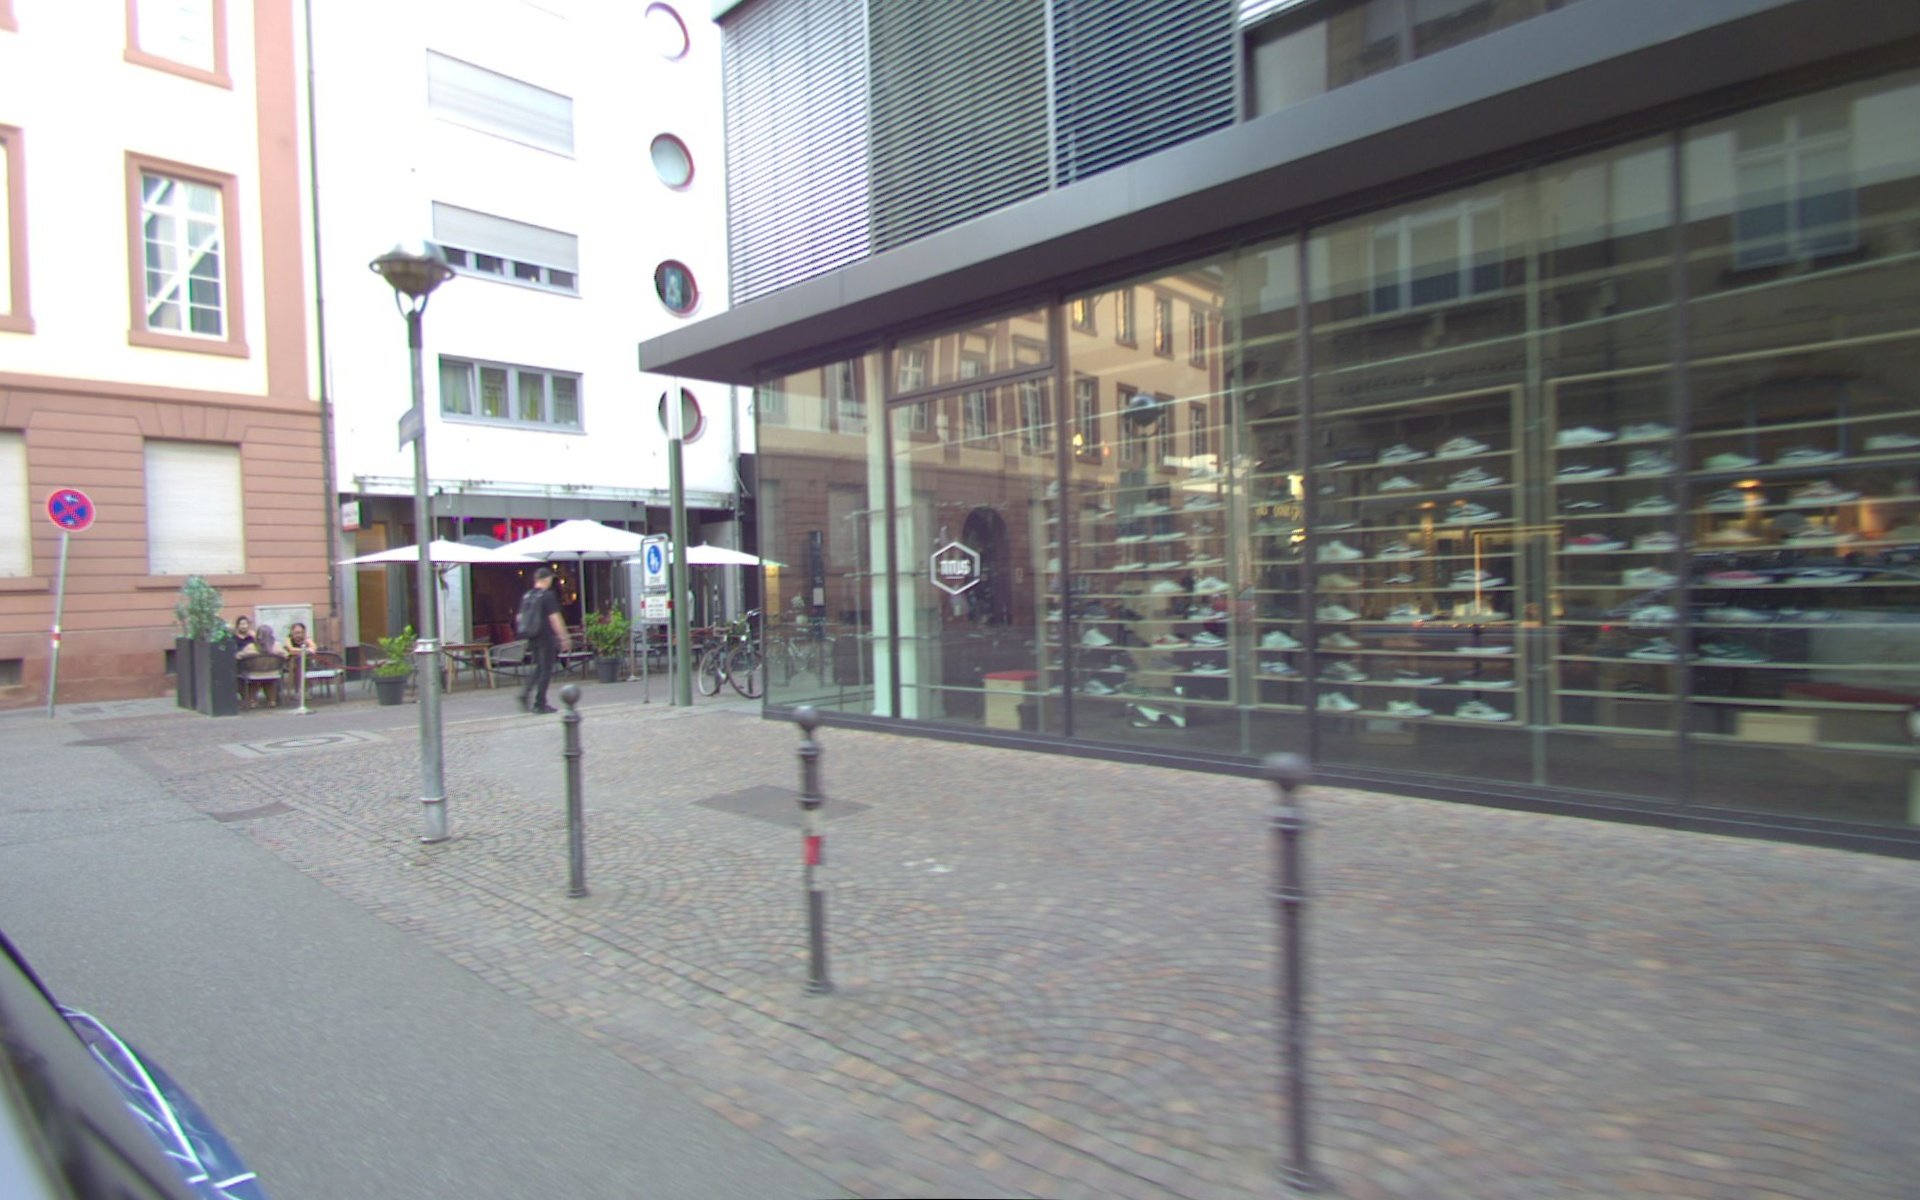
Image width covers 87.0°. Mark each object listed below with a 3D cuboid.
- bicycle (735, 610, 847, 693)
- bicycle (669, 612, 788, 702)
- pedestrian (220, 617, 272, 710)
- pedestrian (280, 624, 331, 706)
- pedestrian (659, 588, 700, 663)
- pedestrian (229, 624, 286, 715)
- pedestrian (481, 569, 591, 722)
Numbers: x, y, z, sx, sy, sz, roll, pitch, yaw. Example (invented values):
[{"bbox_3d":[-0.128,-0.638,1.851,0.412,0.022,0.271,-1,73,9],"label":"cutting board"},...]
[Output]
[{"bbox_3d":[-2.556,0.766,15.185,1.841,1.159,0.601,-3,-1,42],"label":"bicycle"},{"bbox_3d":[-3.145,0.764,13.669,1.673,1.121,0.700,-3,-1,42],"label":"bicycle"},{"bbox_3d":[-10.872,0.957,15.409,0.541,1.359,0.489,-2,0,-45],"label":"pedestrian"},{"bbox_3d":[-10.170,0.991,15.732,0.541,1.220,0.524,-2,0,-45],"label":"pedestrian"},{"bbox_3d":[-6.452,0.580,23.324,0.619,1.678,0.667,-2,0,15],"label":"pedestrian"},{"bbox_3d":[-9.886,0.959,14.237,0.554,1.221,0.461,-2,0,-45],"label":"pedestrian"},{"bbox_3d":[-5.216,0.539,12.487,0.735,1.798,0.961,-2,0,23],"label":"pedestrian"}]
